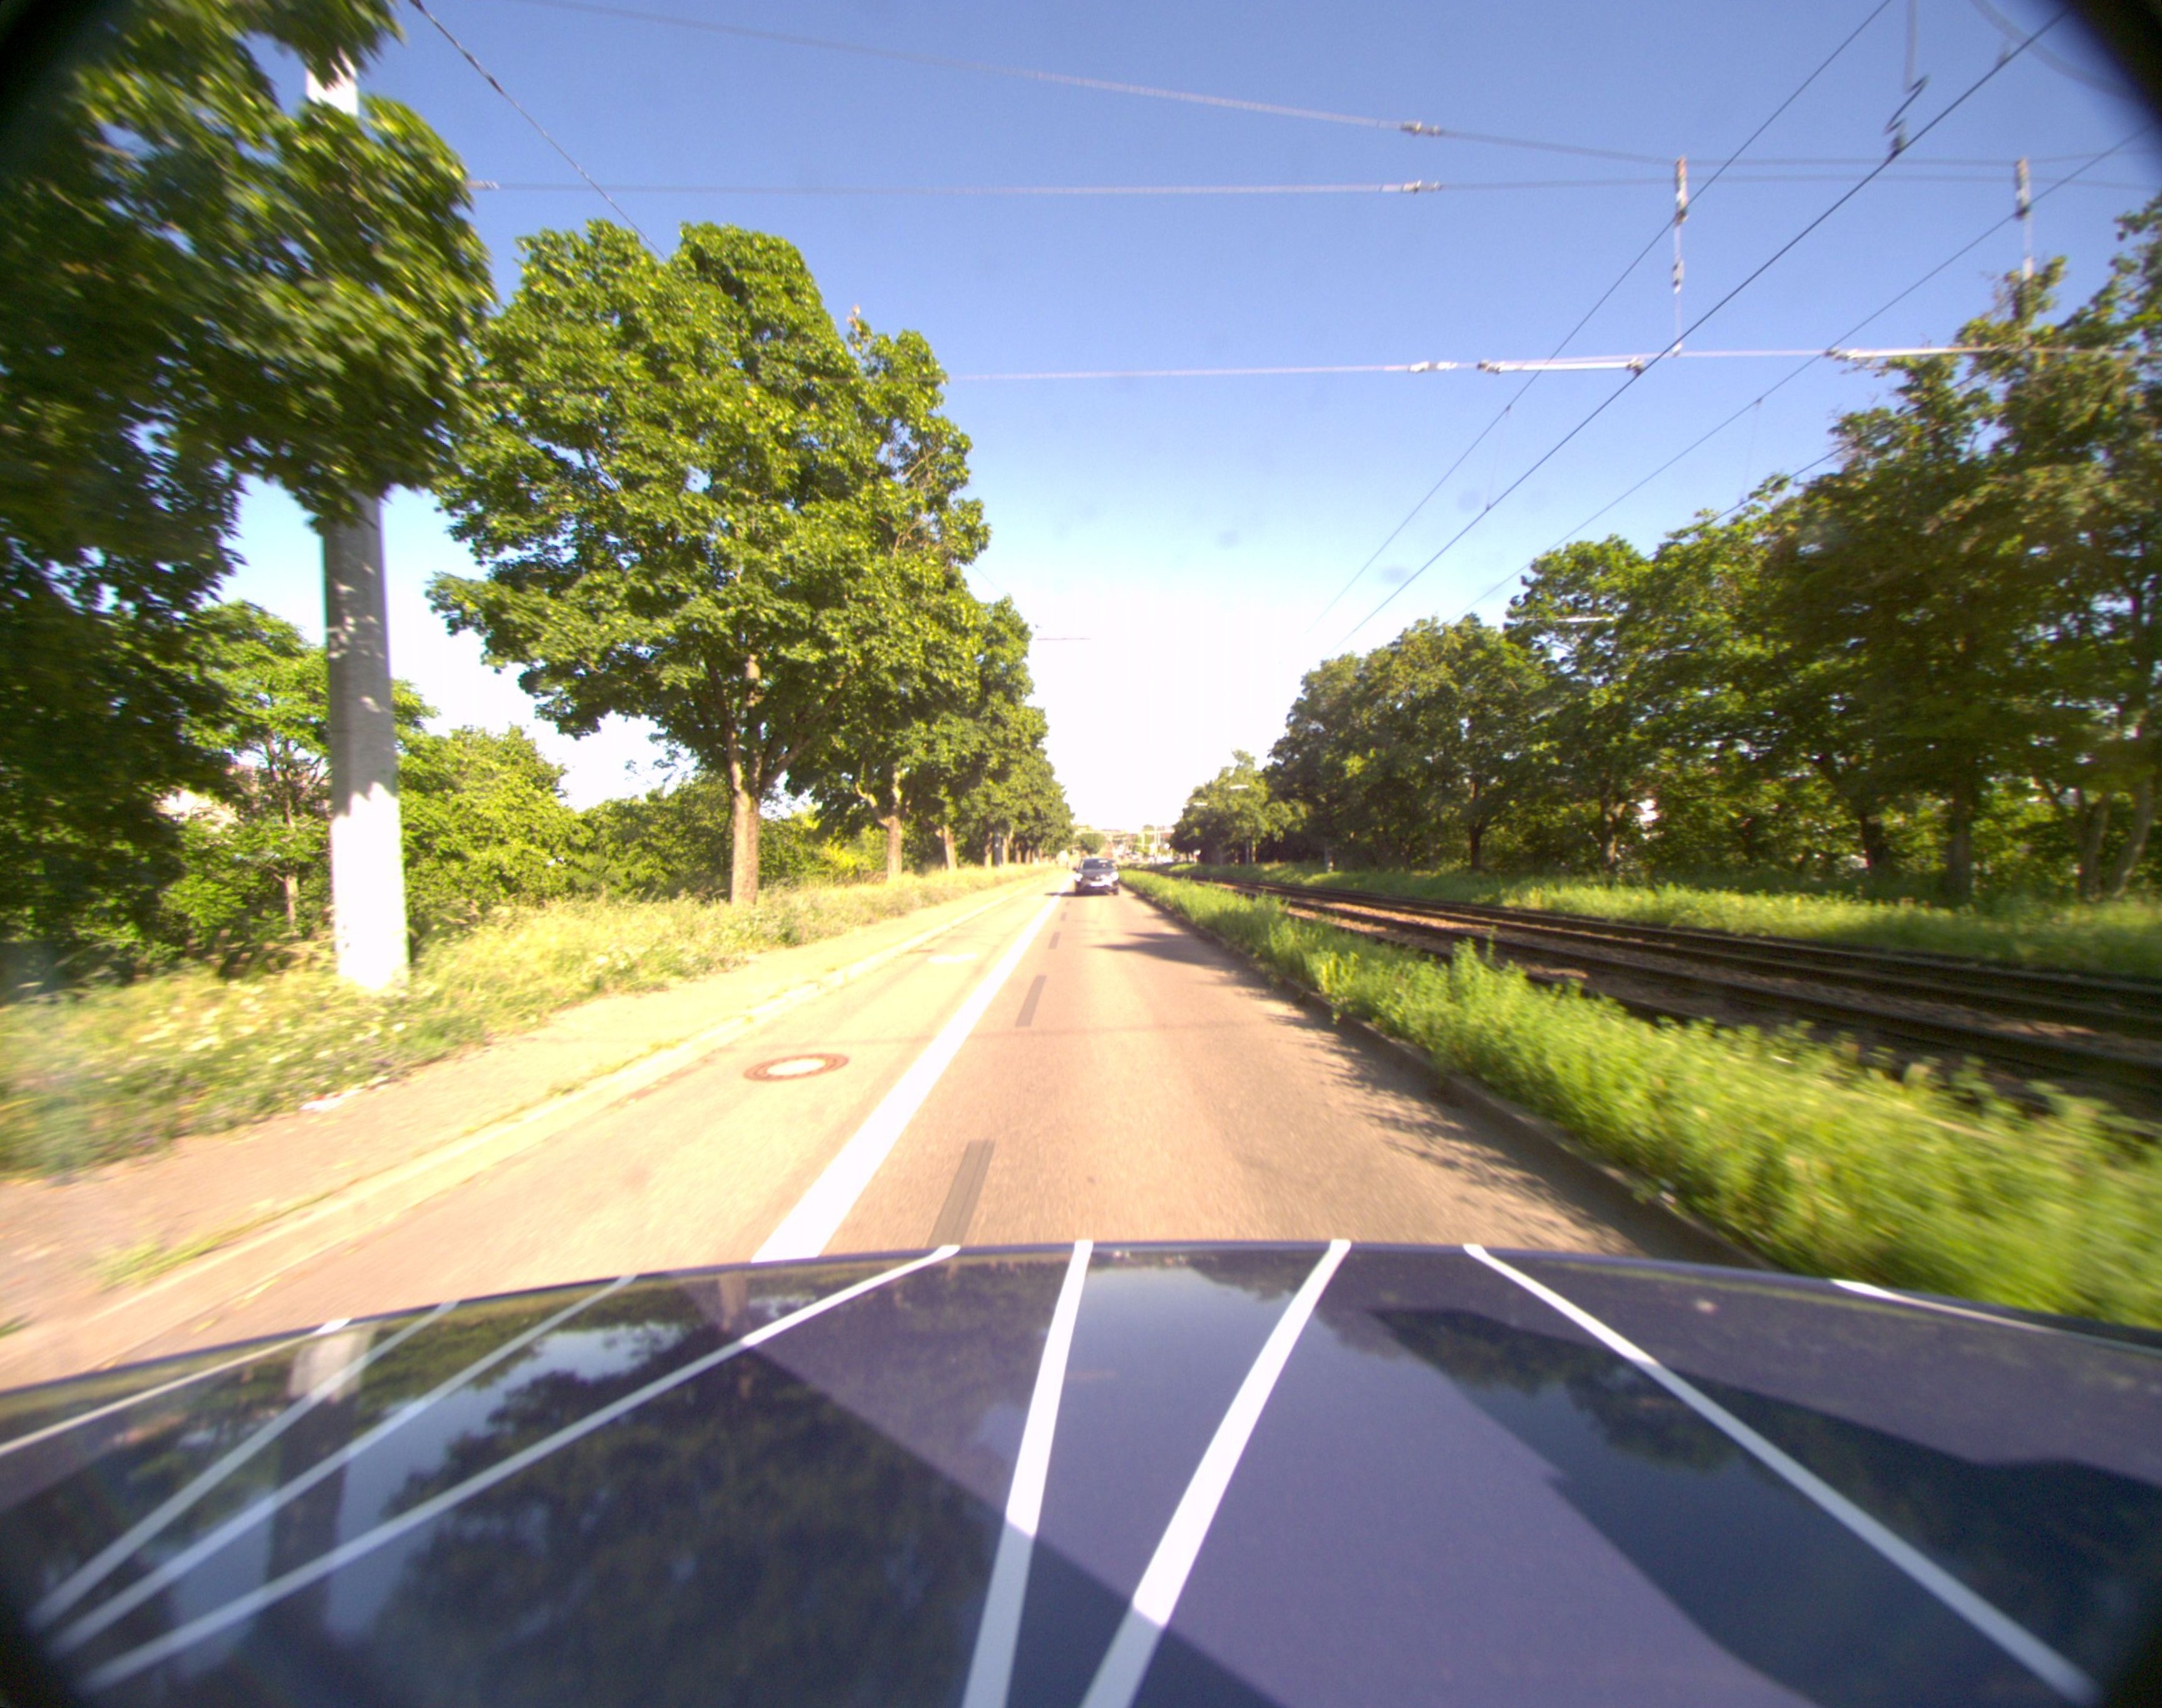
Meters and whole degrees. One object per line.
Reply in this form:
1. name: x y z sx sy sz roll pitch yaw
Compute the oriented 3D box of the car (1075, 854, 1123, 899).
1. car: 0.717 0.868 31.294 1.814 1.625 4.709 -1 1 1
